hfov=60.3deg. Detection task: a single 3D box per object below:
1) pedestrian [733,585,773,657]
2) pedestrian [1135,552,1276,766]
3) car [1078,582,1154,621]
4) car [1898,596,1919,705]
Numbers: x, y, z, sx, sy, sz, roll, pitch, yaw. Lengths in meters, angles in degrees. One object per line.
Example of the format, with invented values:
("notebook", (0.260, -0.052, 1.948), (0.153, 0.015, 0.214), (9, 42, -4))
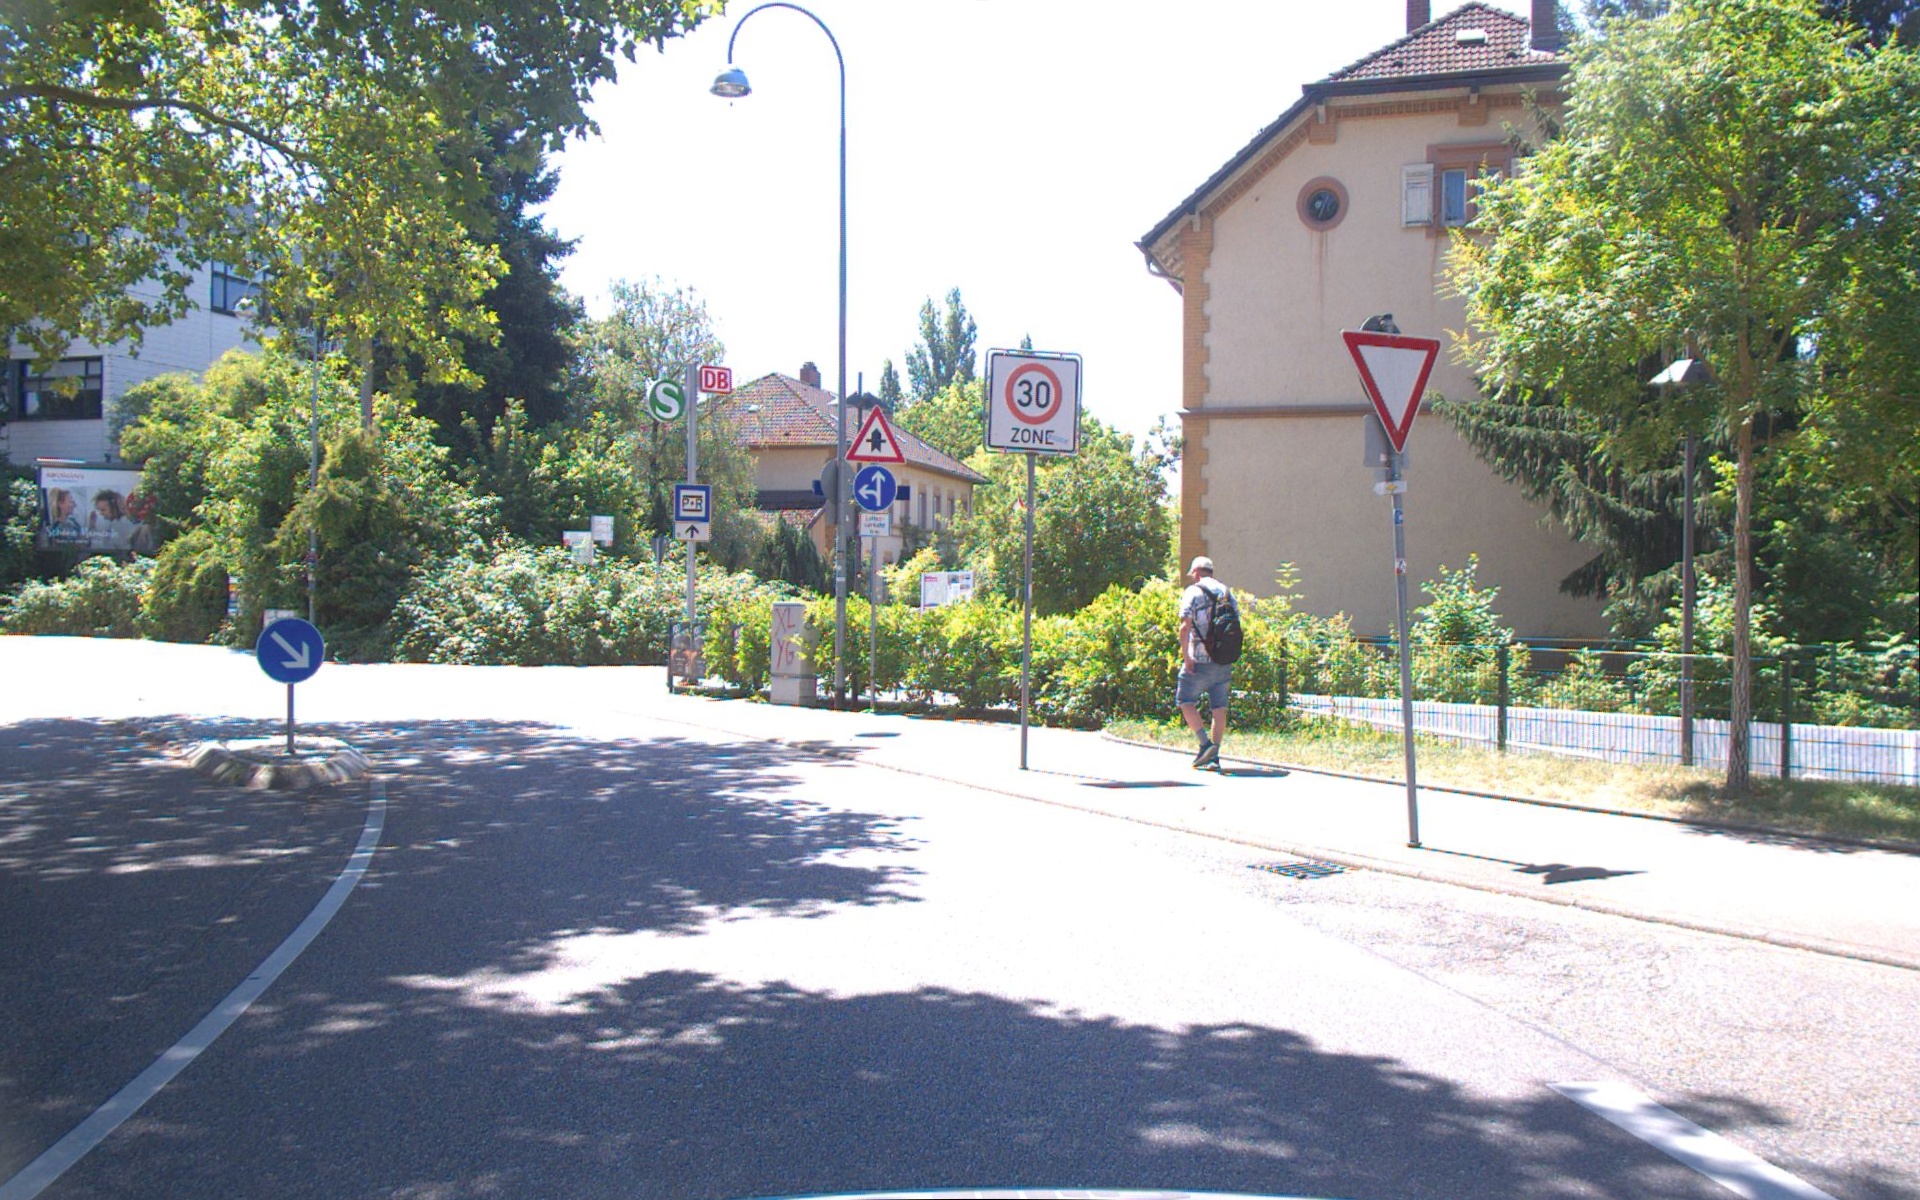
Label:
("pedestrian", (-4.812, 0.481, 38.439), (0.611, 1.656, 0.690), (0, 1, -40))
("pedestrian", (2.153, 0.495, 14.564), (0.899, 1.803, 0.909), (0, 0, -22))
("car", (9.740, 0.066, 103.202), (4.352, 2.362, 2.202), (0, 0, 20))
("car", (14.571, 0.735, 23.471), (1.616, 1.563, 3.969), (1, 0, 21))
